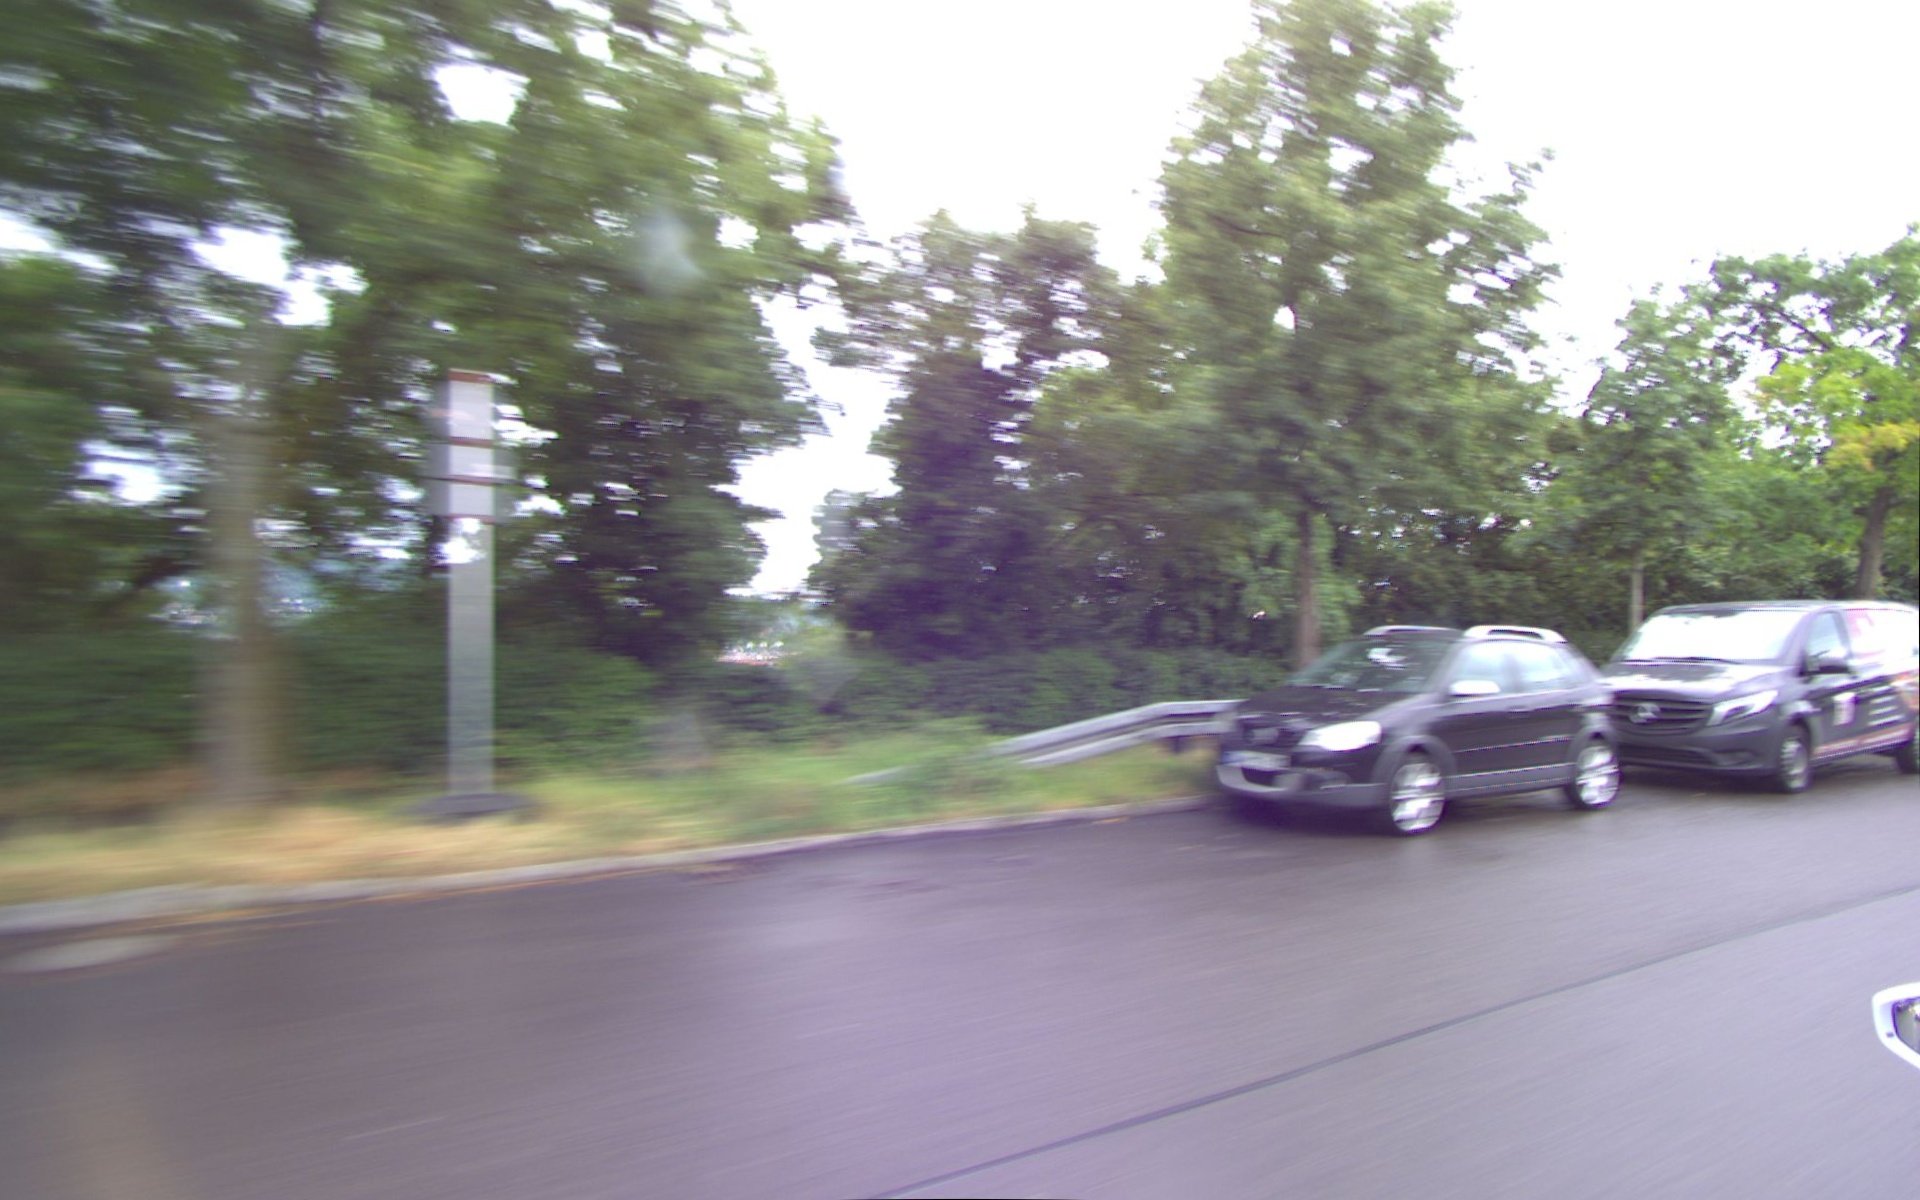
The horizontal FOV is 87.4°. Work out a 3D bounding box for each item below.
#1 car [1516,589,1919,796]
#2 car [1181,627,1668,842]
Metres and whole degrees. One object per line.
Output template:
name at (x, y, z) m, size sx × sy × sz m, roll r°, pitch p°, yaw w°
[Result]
car at (8.783, 0.943, 11.190) m, size 5.316 × 1.843 × 2.075 m, roll 2°, pitch -3°, yaw -29°
car at (4.097, 1.010, 8.696) m, size 4.207 × 1.456 × 1.789 m, roll 2°, pitch -3°, yaw -31°
